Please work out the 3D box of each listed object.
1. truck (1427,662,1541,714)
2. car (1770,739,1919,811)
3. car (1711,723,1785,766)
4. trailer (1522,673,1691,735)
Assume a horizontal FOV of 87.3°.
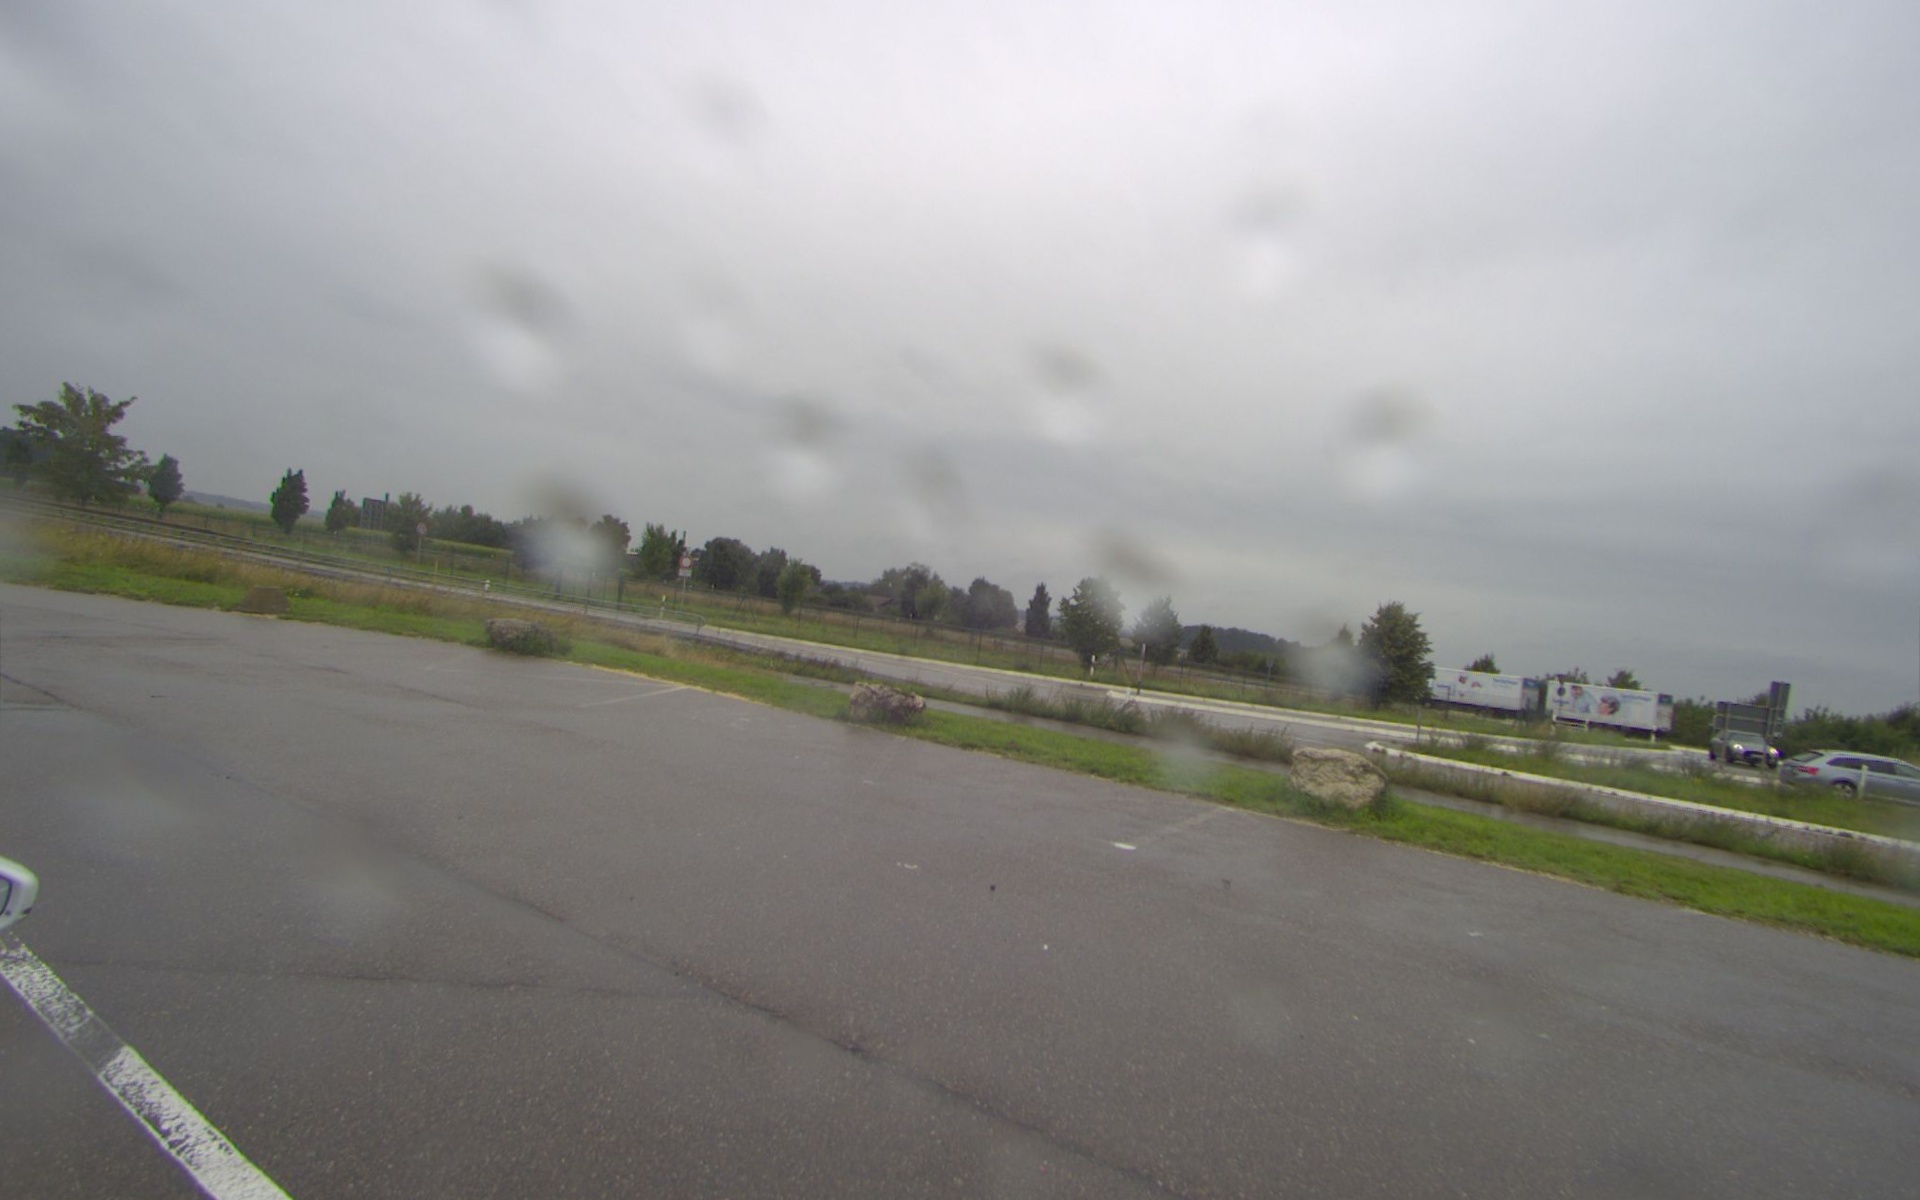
[{"bbox_3d":[41.662,6.963,80.223,2.163,2.942,7.724,9,-1,-33],"label":"truck"},{"bbox_3d":[27.174,5.241,29.676,4.575,1.500,1.999,6,0,20],"label":"car"},{"bbox_3d":[36.088,6.571,46.191,1.726,1.341,4.302,6,0,27],"label":"car"},{"bbox_3d":[46.418,7.419,72.682,2.186,2.936,10.055,8,-1,-33],"label":"trailer"}]
